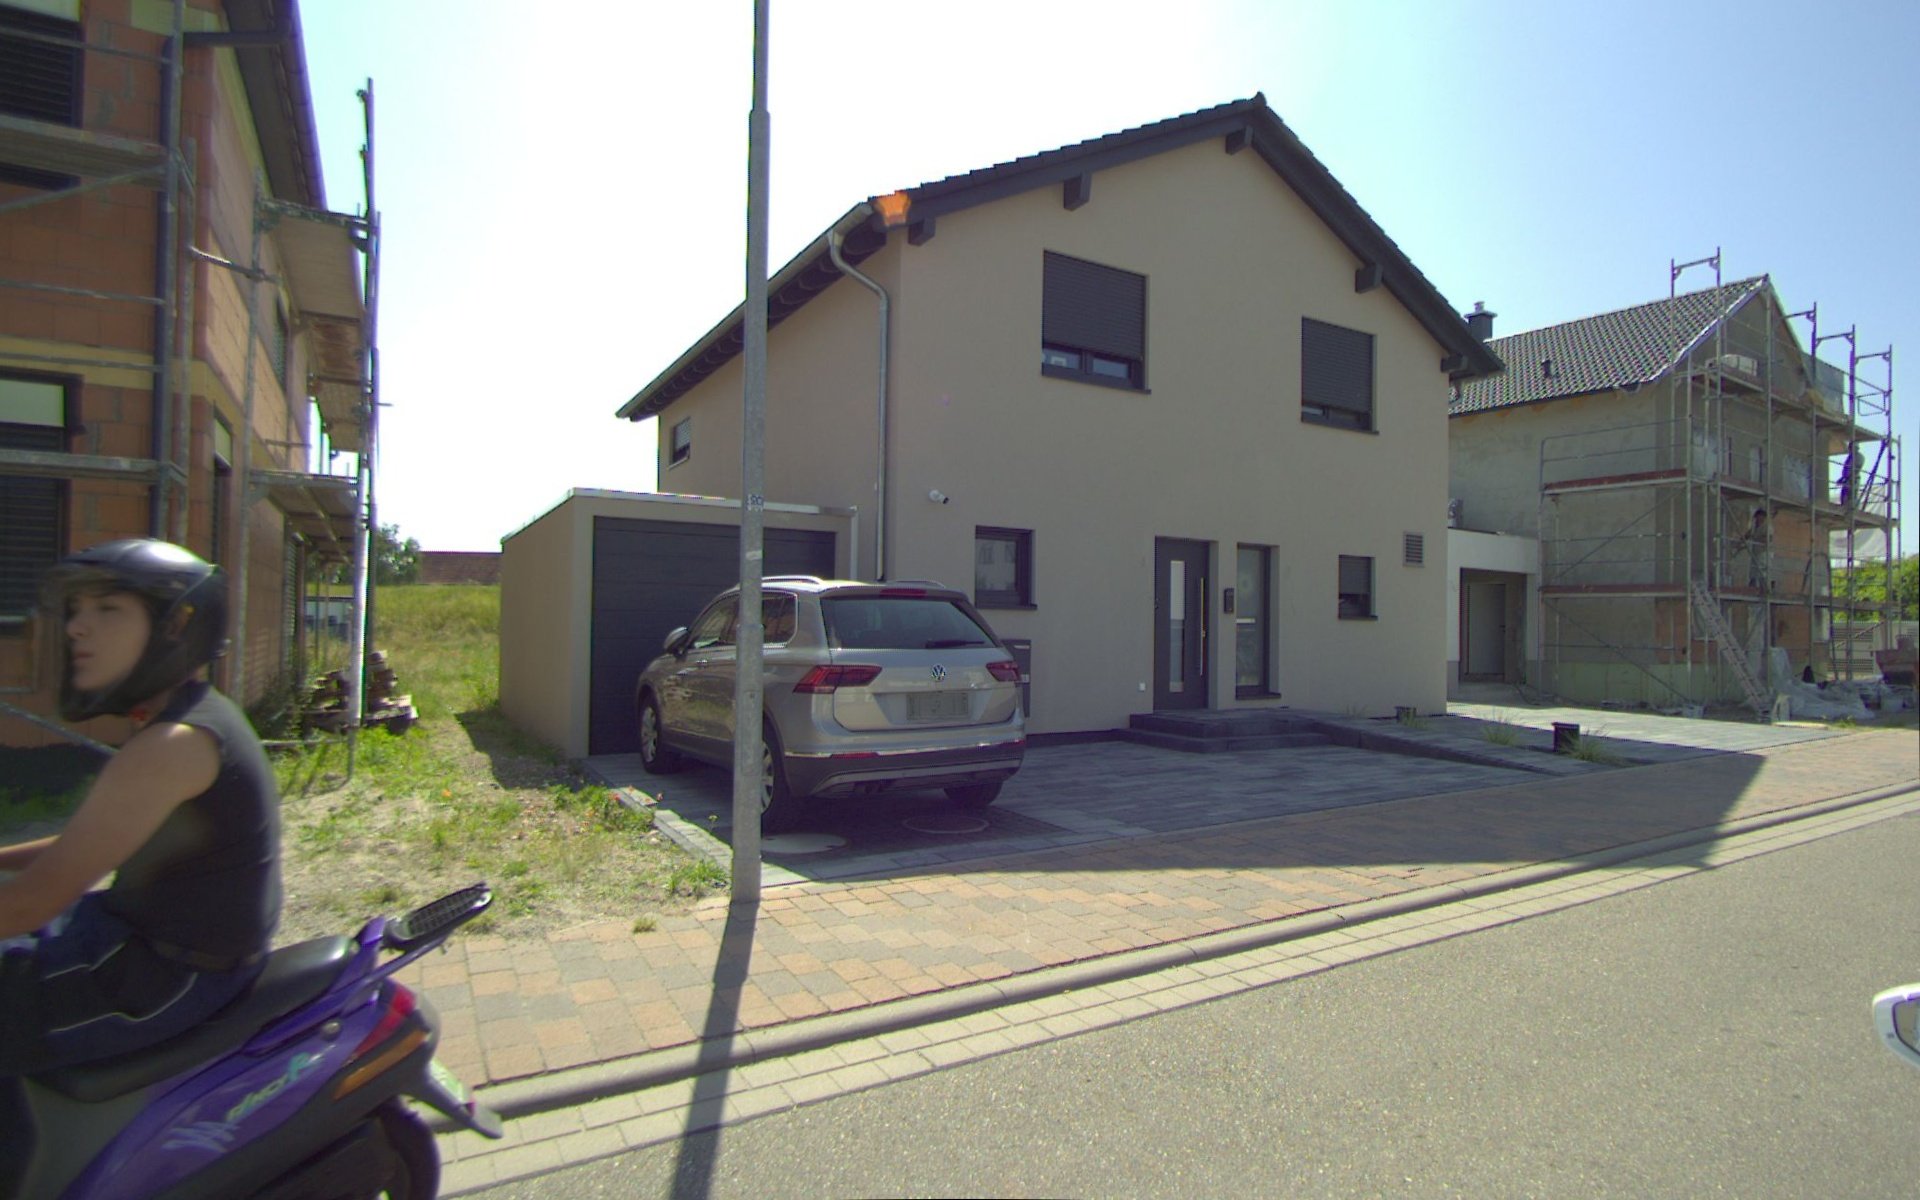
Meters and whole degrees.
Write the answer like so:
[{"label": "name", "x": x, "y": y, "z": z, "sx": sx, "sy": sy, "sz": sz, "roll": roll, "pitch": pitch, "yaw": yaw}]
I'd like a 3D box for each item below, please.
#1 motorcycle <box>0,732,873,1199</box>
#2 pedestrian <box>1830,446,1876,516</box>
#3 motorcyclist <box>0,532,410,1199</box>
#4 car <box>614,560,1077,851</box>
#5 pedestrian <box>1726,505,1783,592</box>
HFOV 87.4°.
[{"label": "motorcycle", "x": -1.467, "y": 0.908, "z": 2.061, "sx": 2.406, "sy": 1.049, "sz": 0.952, "roll": 1, "pitch": -1, "yaw": -29}, {"label": "pedestrian", "x": 21.022, "y": -2.795, "z": 23.662, "sx": 0.552, "sy": 1.519, "sz": 0.748, "roll": 1, "pitch": -3, "yaw": 20}, {"label": "motorcyclist", "x": -1.572, "y": 0.525, "z": 2.027, "sx": 0.793, "sy": 1.239, "sz": 0.921, "roll": 0, "pitch": -1, "yaw": -28}, {"label": "car", "x": -1.217, "y": 0.663, "z": 8.067, "sx": 1.979, "sy": 1.633, "sz": 4.399, "roll": 1, "pitch": -2, "yaw": -33}, {"label": "pedestrian", "x": 15.989, "y": -1.031, "z": 20.226, "sx": 0.733, "sy": 1.701, "sz": 0.579, "roll": 1, "pitch": -3, "yaw": 15}]
